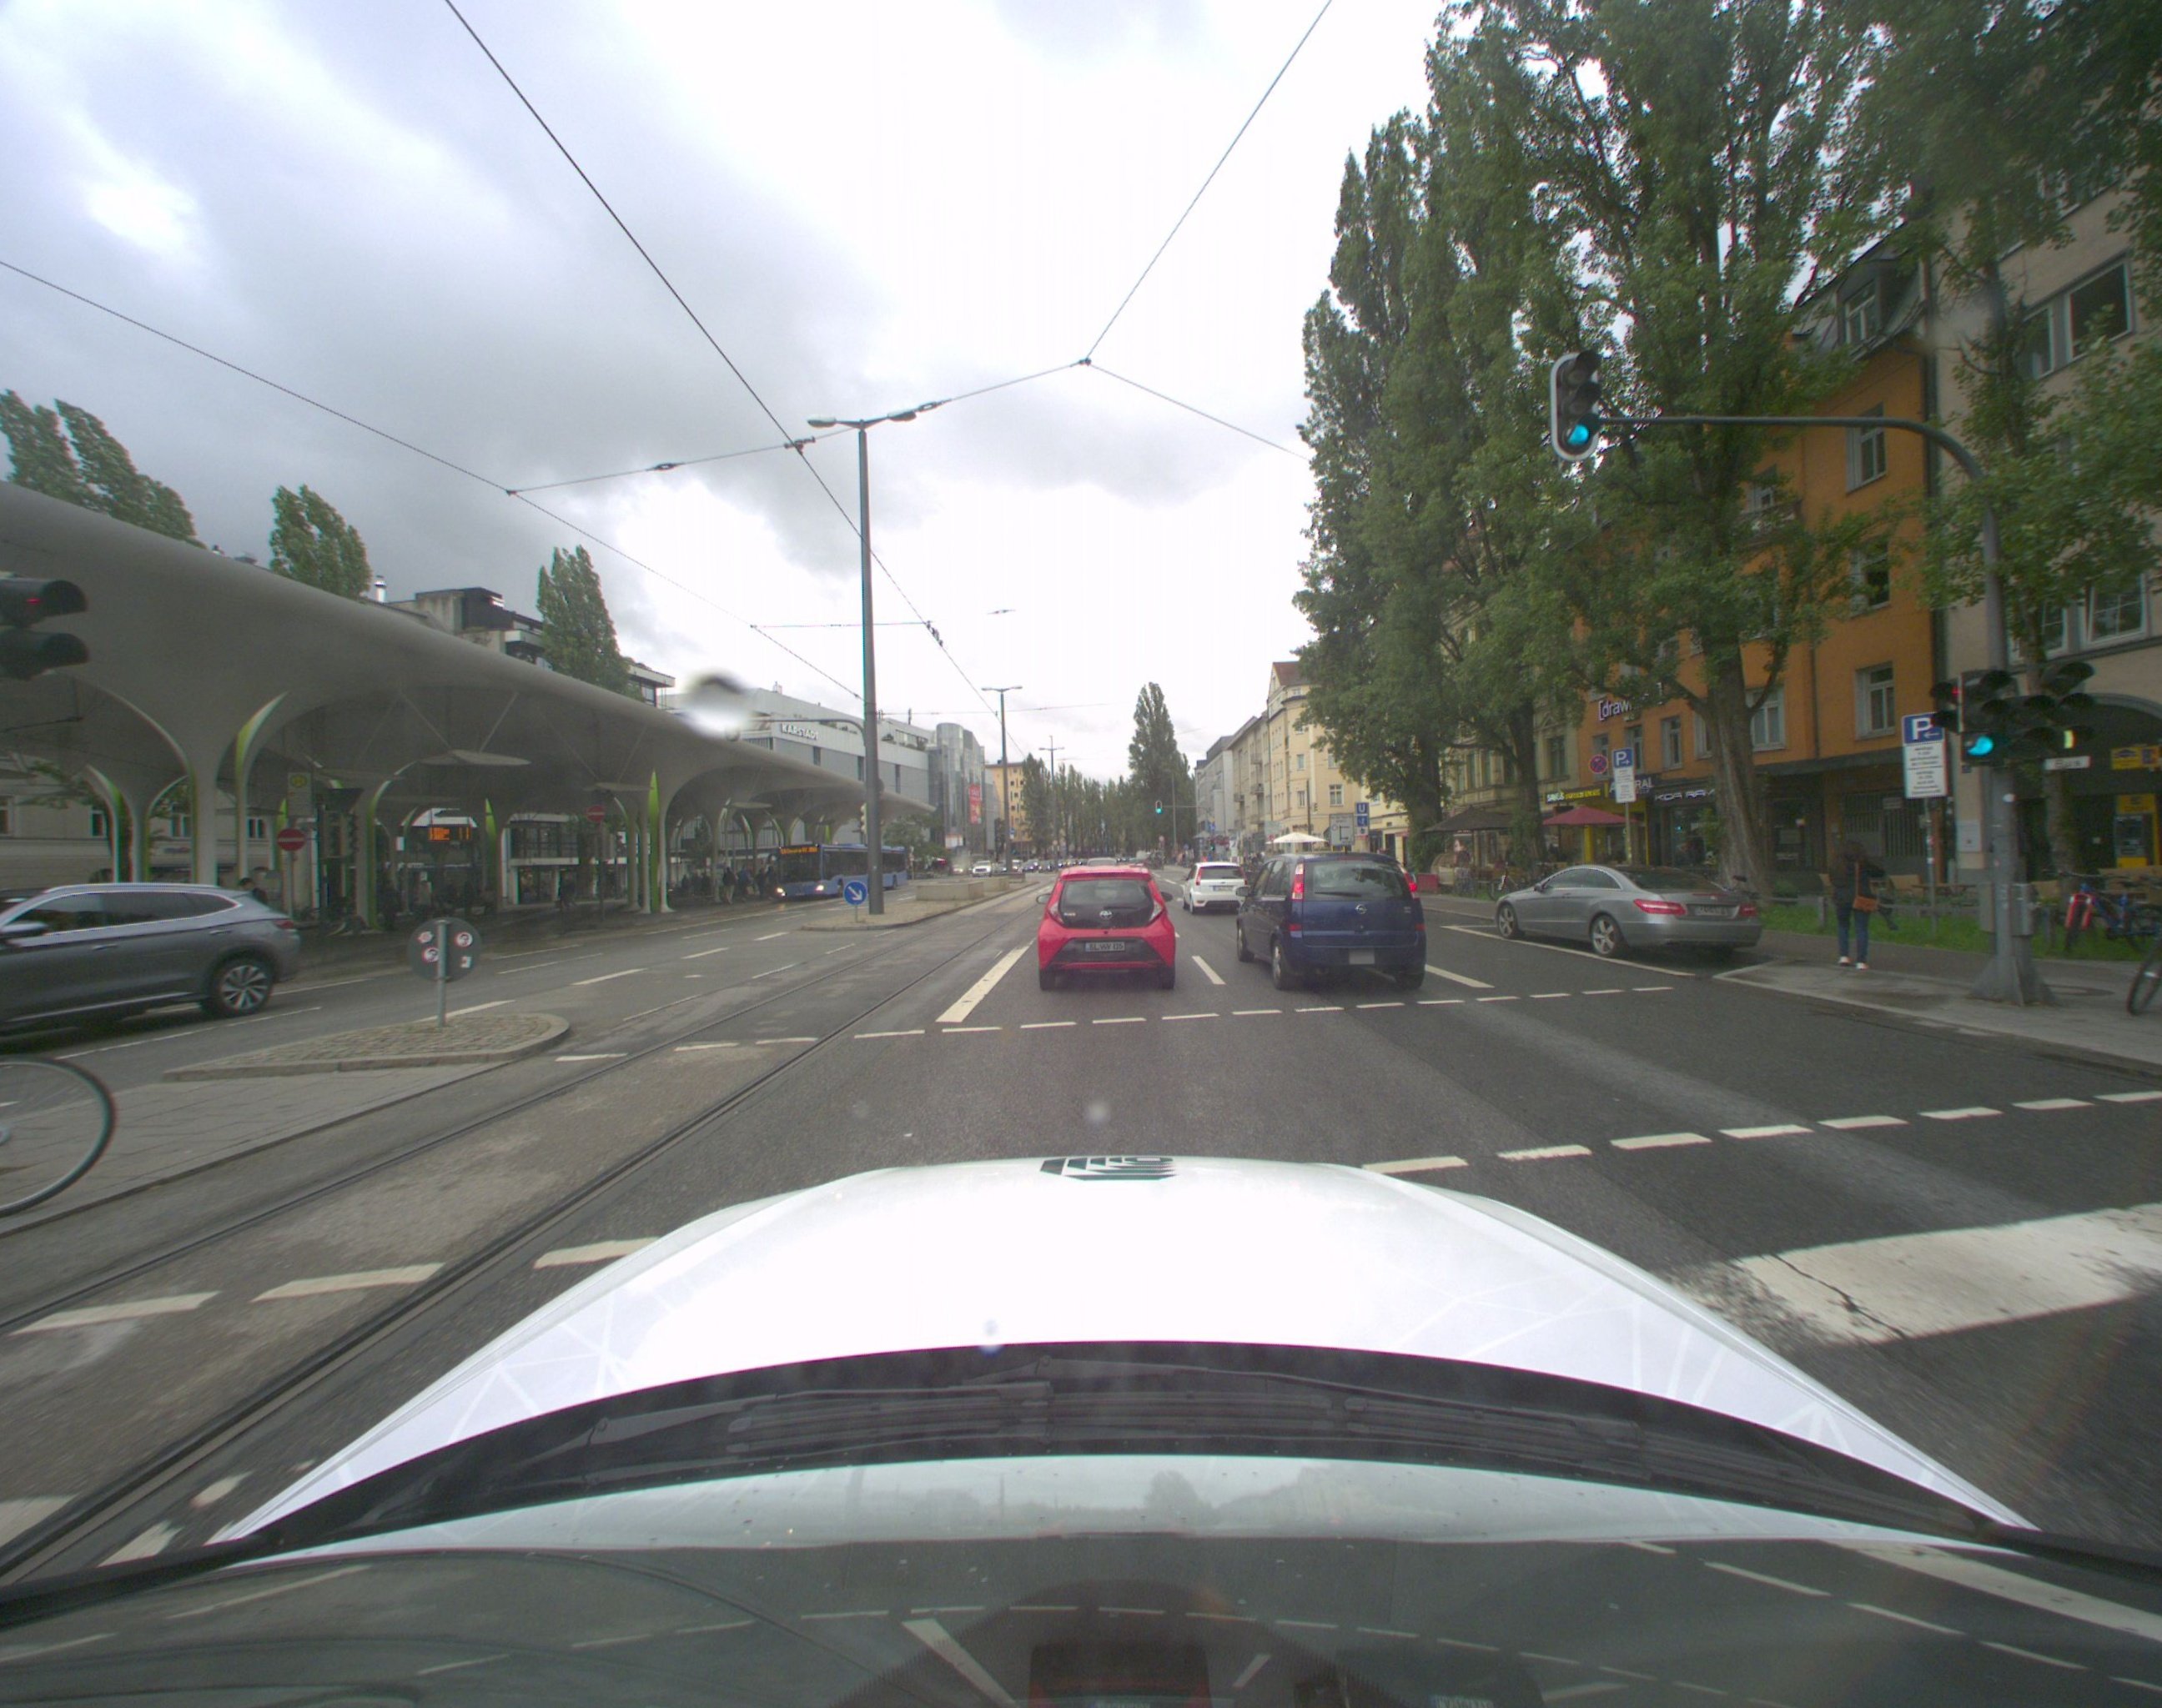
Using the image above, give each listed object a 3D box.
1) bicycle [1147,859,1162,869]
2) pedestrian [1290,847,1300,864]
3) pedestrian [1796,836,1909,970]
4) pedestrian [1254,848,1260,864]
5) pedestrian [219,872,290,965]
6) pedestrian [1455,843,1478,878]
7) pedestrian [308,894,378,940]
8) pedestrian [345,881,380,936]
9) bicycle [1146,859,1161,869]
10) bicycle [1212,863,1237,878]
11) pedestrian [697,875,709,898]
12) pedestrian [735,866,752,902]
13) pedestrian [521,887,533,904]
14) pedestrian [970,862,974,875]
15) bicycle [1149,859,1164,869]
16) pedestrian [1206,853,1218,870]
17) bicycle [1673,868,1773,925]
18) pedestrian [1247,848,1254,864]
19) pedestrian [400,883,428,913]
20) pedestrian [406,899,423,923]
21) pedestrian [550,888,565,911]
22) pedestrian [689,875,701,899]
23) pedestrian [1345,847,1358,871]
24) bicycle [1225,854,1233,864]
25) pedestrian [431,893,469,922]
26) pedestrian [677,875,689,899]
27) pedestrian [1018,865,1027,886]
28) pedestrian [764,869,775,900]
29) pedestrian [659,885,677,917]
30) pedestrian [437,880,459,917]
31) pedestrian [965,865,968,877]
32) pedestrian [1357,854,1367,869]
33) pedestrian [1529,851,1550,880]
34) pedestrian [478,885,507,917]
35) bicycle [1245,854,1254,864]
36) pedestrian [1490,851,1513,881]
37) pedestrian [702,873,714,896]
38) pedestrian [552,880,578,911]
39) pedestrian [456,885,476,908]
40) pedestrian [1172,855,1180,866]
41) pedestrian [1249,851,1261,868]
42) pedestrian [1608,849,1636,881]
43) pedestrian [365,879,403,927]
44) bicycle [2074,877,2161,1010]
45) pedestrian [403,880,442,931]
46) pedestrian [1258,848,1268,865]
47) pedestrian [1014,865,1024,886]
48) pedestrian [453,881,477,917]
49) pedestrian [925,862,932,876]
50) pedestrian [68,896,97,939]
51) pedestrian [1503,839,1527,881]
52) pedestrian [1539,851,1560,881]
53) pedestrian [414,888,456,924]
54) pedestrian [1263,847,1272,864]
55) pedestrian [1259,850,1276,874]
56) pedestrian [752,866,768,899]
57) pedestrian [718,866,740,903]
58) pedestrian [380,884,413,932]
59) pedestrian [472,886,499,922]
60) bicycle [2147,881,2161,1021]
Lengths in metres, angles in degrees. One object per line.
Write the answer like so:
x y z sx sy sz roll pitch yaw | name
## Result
9.320 1.260 102.901 1.781 1.158 0.490 -2 0 32 | bicycle
21.979 0.099 83.685 0.749 1.685 0.676 -4 3 -28 | pedestrian
9.519 0.575 10.063 0.764 1.562 0.756 -2 0 -25 | pedestrian
18.684 0.235 86.368 0.556 1.609 0.570 -2 3 15 | pedestrian
-17.135 1.318 16.903 0.664 1.839 0.807 -2 -1 -11 | pedestrian
18.626 0.313 39.389 0.707 1.633 0.787 -2 -1 2 | pedestrian
-21.798 1.853 24.068 0.803 1.230 1.277 -2 -1 20 | pedestrian
-25.469 1.930 28.886 0.715 1.873 0.871 -2 -1 -27 | pedestrian
9.261 1.278 104.280 1.781 1.158 0.656 -2 0 37 | bicycle
10.071 1.160 57.120 0.350 0.996 1.819 -2 -1 -44 | bicycle
-26.868 2.292 57.887 0.572 1.610 0.546 -2 -1 -8 | pedestrian
-16.925 1.492 40.863 0.565 1.743 0.753 -2 -1 -10 | pedestrian
-44.659 3.370 65.609 0.507 1.333 0.580 -2 -1 20 | pedestrian
-15.108 2.035 112.613 0.444 1.760 0.355 -2 0 -3 | pedestrian
9.398 1.233 101.583 1.782 1.158 0.490 -2 0 28 | bicycle
13.867 0.790 86.091 0.826 1.691 0.825 -3 -1 39 | pedestrian
11.993 0.764 15.287 0.587 0.965 1.654 -2 0 2 | bicycle
17.985 0.238 86.249 0.560 1.670 0.565 -2 3 24 | pedestrian
-41.894 2.756 51.126 0.921 1.773 1.004 -2 -1 21 | pedestrian
-29.477 2.523 36.035 0.459 0.989 0.510 -2 -1 -25 | pedestrian
-29.301 2.555 45.604 0.578 1.265 0.513 -2 -1 -43 | pedestrian
-26.690 2.284 56.341 0.572 1.610 0.546 -2 -1 -8 | pedestrian
18.822 0.333 56.674 0.612 1.633 0.678 -2 -1 2 | pedestrian
16.011 0.551 88.229 0.564 1.108 1.867 -2 0 2 | bicycle
-26.834 2.269 34.670 0.908 1.155 0.878 0 0 2 | pedestrian
-27.543 2.284 56.395 0.572 1.610 0.546 -2 -1 -8 | pedestrian
-4.635 1.731 64.429 0.466 1.618 0.515 -1 -1 -45 | pedestrian
-16.179 1.582 42.357 0.391 1.605 0.390 -2 -1 -4 | pedestrian
-27.088 3.064 53.441 0.911 2.014 0.666 -2 -1 -36 | pedestrian
-29.428 2.067 37.836 0.691 1.696 0.652 -3 -1 42 | pedestrian
-15.828 2.339 112.625 0.353 1.567 0.269 -2 -1 -10 | pedestrian
21.529 0.564 62.456 0.512 1.182 0.703 -2 -1 0 | pedestrian
21.019 0.534 37.325 0.581 1.280 0.583 -2 -1 1 | pedestrian
-29.083 2.319 40.241 0.742 1.508 0.894 -2 -1 -5 | pedestrian
18.263 0.589 88.356 0.493 1.059 1.864 -2 0 -2 | bicycle
17.593 0.494 34.092 0.598 1.222 0.666 -2 -1 2 | pedestrian
-27.306 2.223 59.613 0.572 1.610 0.580 -2 -1 -8 | pedestrian
-30.160 2.393 47.583 0.867 1.730 0.897 -2 0 4 | pedestrian
-45.458 3.124 60.191 0.775 1.661 0.776 -2 -1 11 | pedestrian
13.387 0.917 114.658 0.801 1.522 0.805 -3 -1 38 | pedestrian
15.723 0.511 73.722 0.730 1.540 0.887 -2 -1 -13 | pedestrian
20.754 0.423 31.256 0.620 1.218 0.583 -2 -1 1 | pedestrian
-27.298 1.918 31.922 0.759 1.789 0.783 -2 -1 4 | pedestrian
9.598 0.745 6.713 1.722 1.102 0.361 -3 -1 36 | bicycle
-23.497 1.829 29.073 0.809 1.728 0.669 -2 -1 -15 | pedestrian
19.256 0.235 86.293 0.648 1.705 0.727 -4 3 -28 | pedestrian
-4.928 1.734 64.702 0.489 1.618 0.552 -2 -1 -33 | pedestrian
-27.387 1.999 36.214 0.664 1.564 0.637 -2 -1 -24 | pedestrian
-19.684 1.971 105.015 0.752 1.773 0.767 -2 0 -22 | pedestrian
-42.691 2.706 34.827 0.552 1.814 0.557 -2 -1 13 | pedestrian
18.150 0.244 34.071 0.598 1.739 0.666 -2 -1 2 | pedestrian
20.974 0.531 36.487 0.581 1.280 0.583 -2 -1 1 | pedestrian
-25.552 2.046 32.218 0.957 1.370 0.843 -2 -1 8 | pedestrian
19.531 0.152 85.366 0.648 1.751 0.635 -3 3 -7 | pedestrian
13.736 0.563 60.113 0.882 1.743 0.854 -2 -1 -15 | pedestrian
-17.259 1.552 43.820 0.500 1.734 0.575 -3 -1 23 | pedestrian
-17.091 1.479 39.555 0.713 1.722 0.879 -2 -1 -8 | pedestrian
-23.146 1.815 27.536 0.593 1.545 0.634 -2 -1 -16 | pedestrian
-27.652 2.331 37.809 0.643 1.618 0.701 -2 -1 6 | pedestrian
9.285 0.748 5.967 0.361 1.102 1.724 -2 -1 -43 | bicycle
